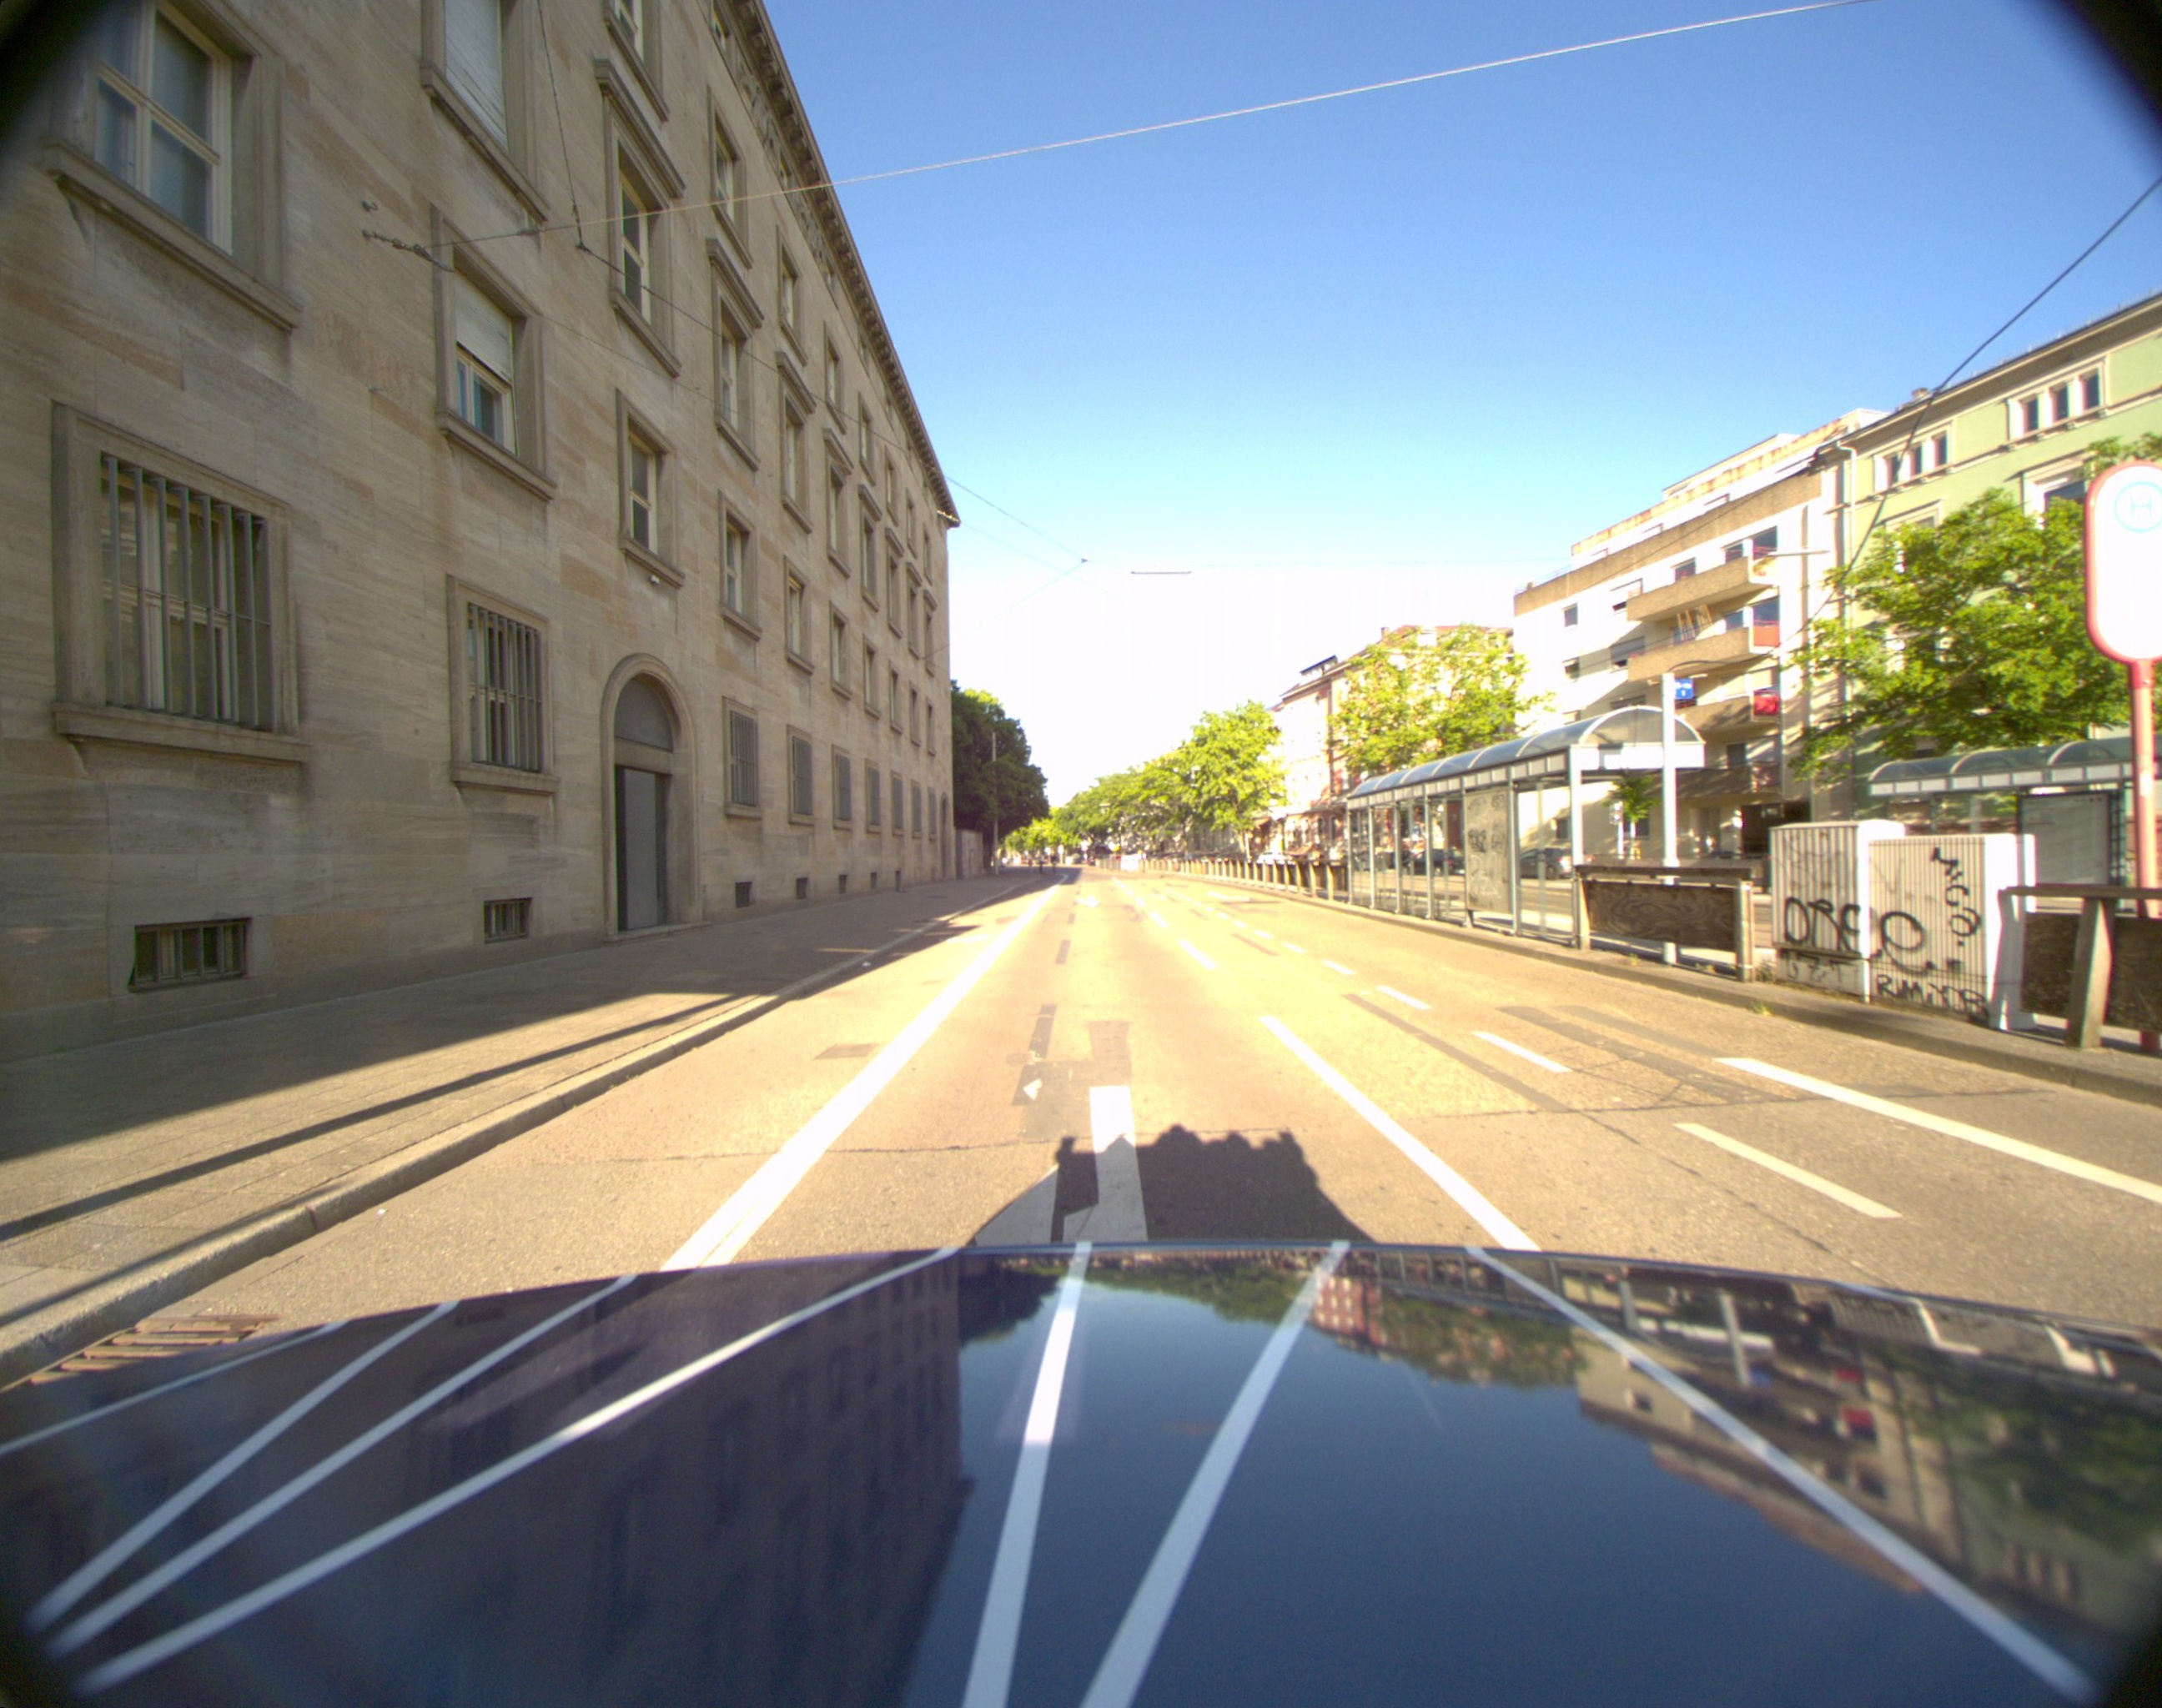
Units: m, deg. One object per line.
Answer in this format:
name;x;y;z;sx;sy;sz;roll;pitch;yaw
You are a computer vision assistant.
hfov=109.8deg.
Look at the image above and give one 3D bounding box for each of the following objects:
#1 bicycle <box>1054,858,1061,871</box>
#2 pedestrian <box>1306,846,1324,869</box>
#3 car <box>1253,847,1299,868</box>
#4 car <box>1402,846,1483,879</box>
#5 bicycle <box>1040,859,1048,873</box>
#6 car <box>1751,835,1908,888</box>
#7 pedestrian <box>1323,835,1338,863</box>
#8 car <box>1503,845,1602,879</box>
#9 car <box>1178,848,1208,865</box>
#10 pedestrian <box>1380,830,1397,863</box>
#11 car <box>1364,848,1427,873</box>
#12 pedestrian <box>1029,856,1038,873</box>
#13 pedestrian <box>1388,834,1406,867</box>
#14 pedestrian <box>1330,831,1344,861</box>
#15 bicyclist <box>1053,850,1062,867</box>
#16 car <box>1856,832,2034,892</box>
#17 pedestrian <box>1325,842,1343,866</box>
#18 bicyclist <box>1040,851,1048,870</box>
bicycle;-2.154;0.923;70.165;0.625;1.167;1.566;0;0;1
pedestrian;16.634;0.267;53.986;0.868;1.619;0.891;-1;1;-10
car;16.348;0.262;63.595;4.134;1.698;1.848;-1;1;-45
car;17.501;0.403;37.031;1.648;1.480;3.997;-1;0;-7
bicycle;-3.447;1.108;70.547;0.625;1.214;1.659;-3;1;1
car;23.914;0.206;24.314;4.002;1.573;1.761;-1;0;-14
pedestrian;19.436;-0.391;59.227;0.812;2.194;0.756;-1;1;-4
car;20.939;0.320;33.935;1.654;1.419;3.737;-1;0;-11
car;9.460;0.228;64.295;1.670;1.400;3.877;0;0;-5
pedestrian;21.196;-0.520;52.358;0.813;2.194;0.756;-1;1;-10
car;18.468;0.360;44.782;1.609;1.388;3.997;-1;0;-9
pedestrian;-3.665;0.799;58.835;0.548;1.327;0.587;-1;1;7
pedestrian;21.348;-0.255;51.376;0.813;2.194;0.756;-1;1;-10
pedestrian;19.388;-0.597;57.602;0.812;2.194;0.756;-1;1;-2
bicyclist;-2.156;0.423;70.201;0.728;1.570;0.775;0;1;1
car;24.713;0.204;21.773;4.002;1.573;1.761;-1;0;-14
pedestrian;18.458;-0.003;55.348;0.855;1.710;1.019;-1;1;-8
bicyclist;-3.468;0.629;70.555;0.625;1.729;0.688;-3;1;1
